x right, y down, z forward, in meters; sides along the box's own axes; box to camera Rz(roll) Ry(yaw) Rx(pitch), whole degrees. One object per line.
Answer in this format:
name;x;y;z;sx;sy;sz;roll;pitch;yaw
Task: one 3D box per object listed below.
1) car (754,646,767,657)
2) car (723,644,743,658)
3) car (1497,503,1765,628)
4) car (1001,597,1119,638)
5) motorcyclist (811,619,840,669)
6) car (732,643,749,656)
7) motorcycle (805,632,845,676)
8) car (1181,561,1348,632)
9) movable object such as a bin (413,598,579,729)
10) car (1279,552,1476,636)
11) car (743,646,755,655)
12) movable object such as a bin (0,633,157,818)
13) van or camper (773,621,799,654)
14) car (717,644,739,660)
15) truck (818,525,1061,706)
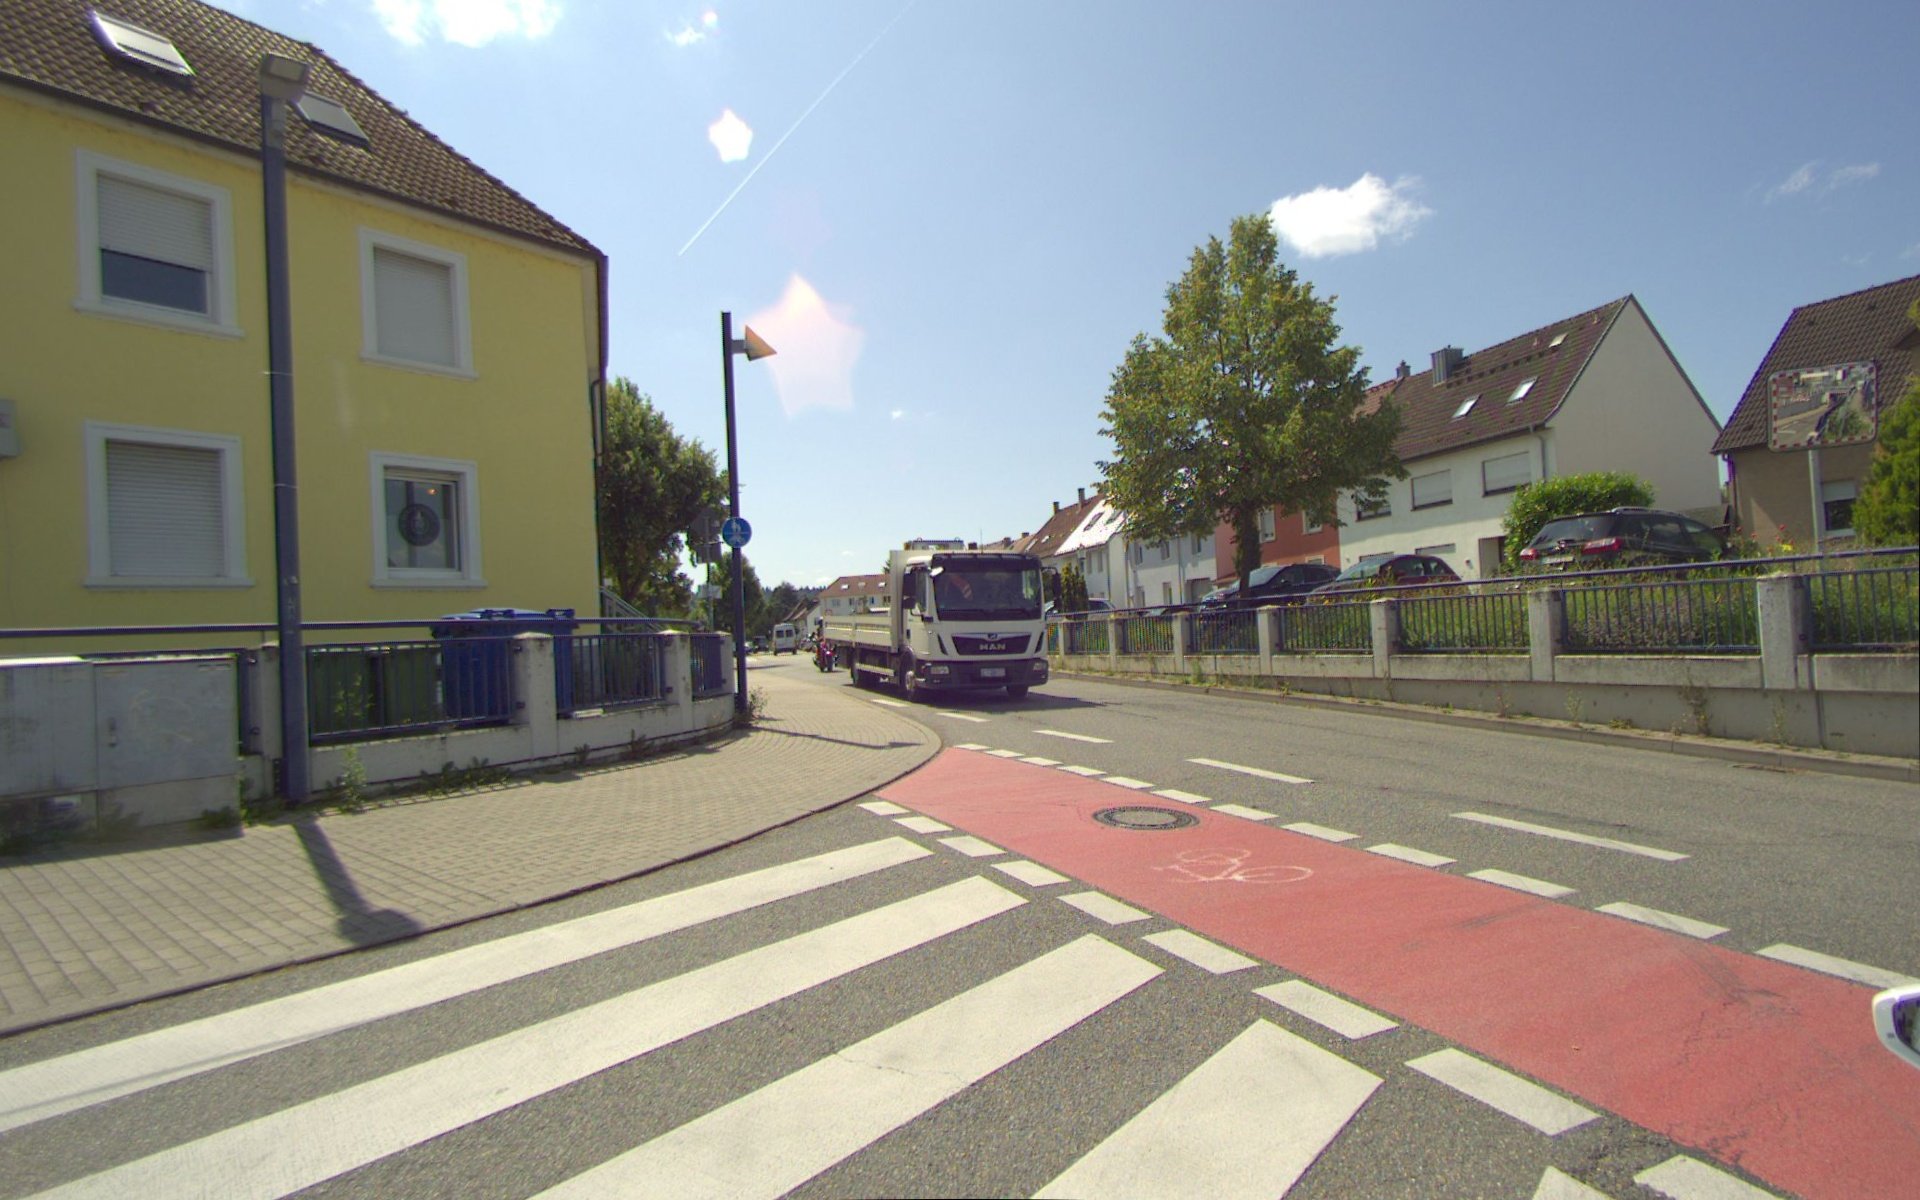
car;-30.447;7.798;153.260;1.782;1.416;3.993;-3;-1;-10
car;-24.666;5.515;109.267;1.964;1.416;3.993;-2;-1;-10
car;10.881;-0.505;16.287;3.946;1.821;1.861;0;1;-25
car;3.856;0.665;38.833;4.190;1.508;1.740;0;1;-19
motorcyclist;-4.180;1.357;31.109;0.718;1.520;0.766;1;-1;-24
car;-27.397;6.193;125.428;1.782;1.416;3.993;-2;-1;-10
motorcycle;-4.201;1.651;31.144;0.718;1.308;2.133;0;-2;-23
car;7.365;-0.091;24.327;3.561;1.608;1.861;0;1;-25
movable object such as a bin;-4.667;0.622;10.176;0.827;1.229;1.275;-3;-2;26
car;8.602;-0.121;20.717;3.561;1.608;1.861;0;1;-25
car;-35.281;8.444;167.862;1.782;1.416;3.993;-3;-1;-10
movable object such as a bin;-6.644;0.889;7.467;0.875;1.241;0.897;-3;-2;41
van or camper;-14.989;3.203;86.316;1.970;2.665;5.381;1;-1;-12
car;-23.007;5.190;99.736;1.965;1.416;3.991;-2;-1;-13
truck;-0.828;0.349;20.396;2.578;2.915;8.038;0;-1;-19
